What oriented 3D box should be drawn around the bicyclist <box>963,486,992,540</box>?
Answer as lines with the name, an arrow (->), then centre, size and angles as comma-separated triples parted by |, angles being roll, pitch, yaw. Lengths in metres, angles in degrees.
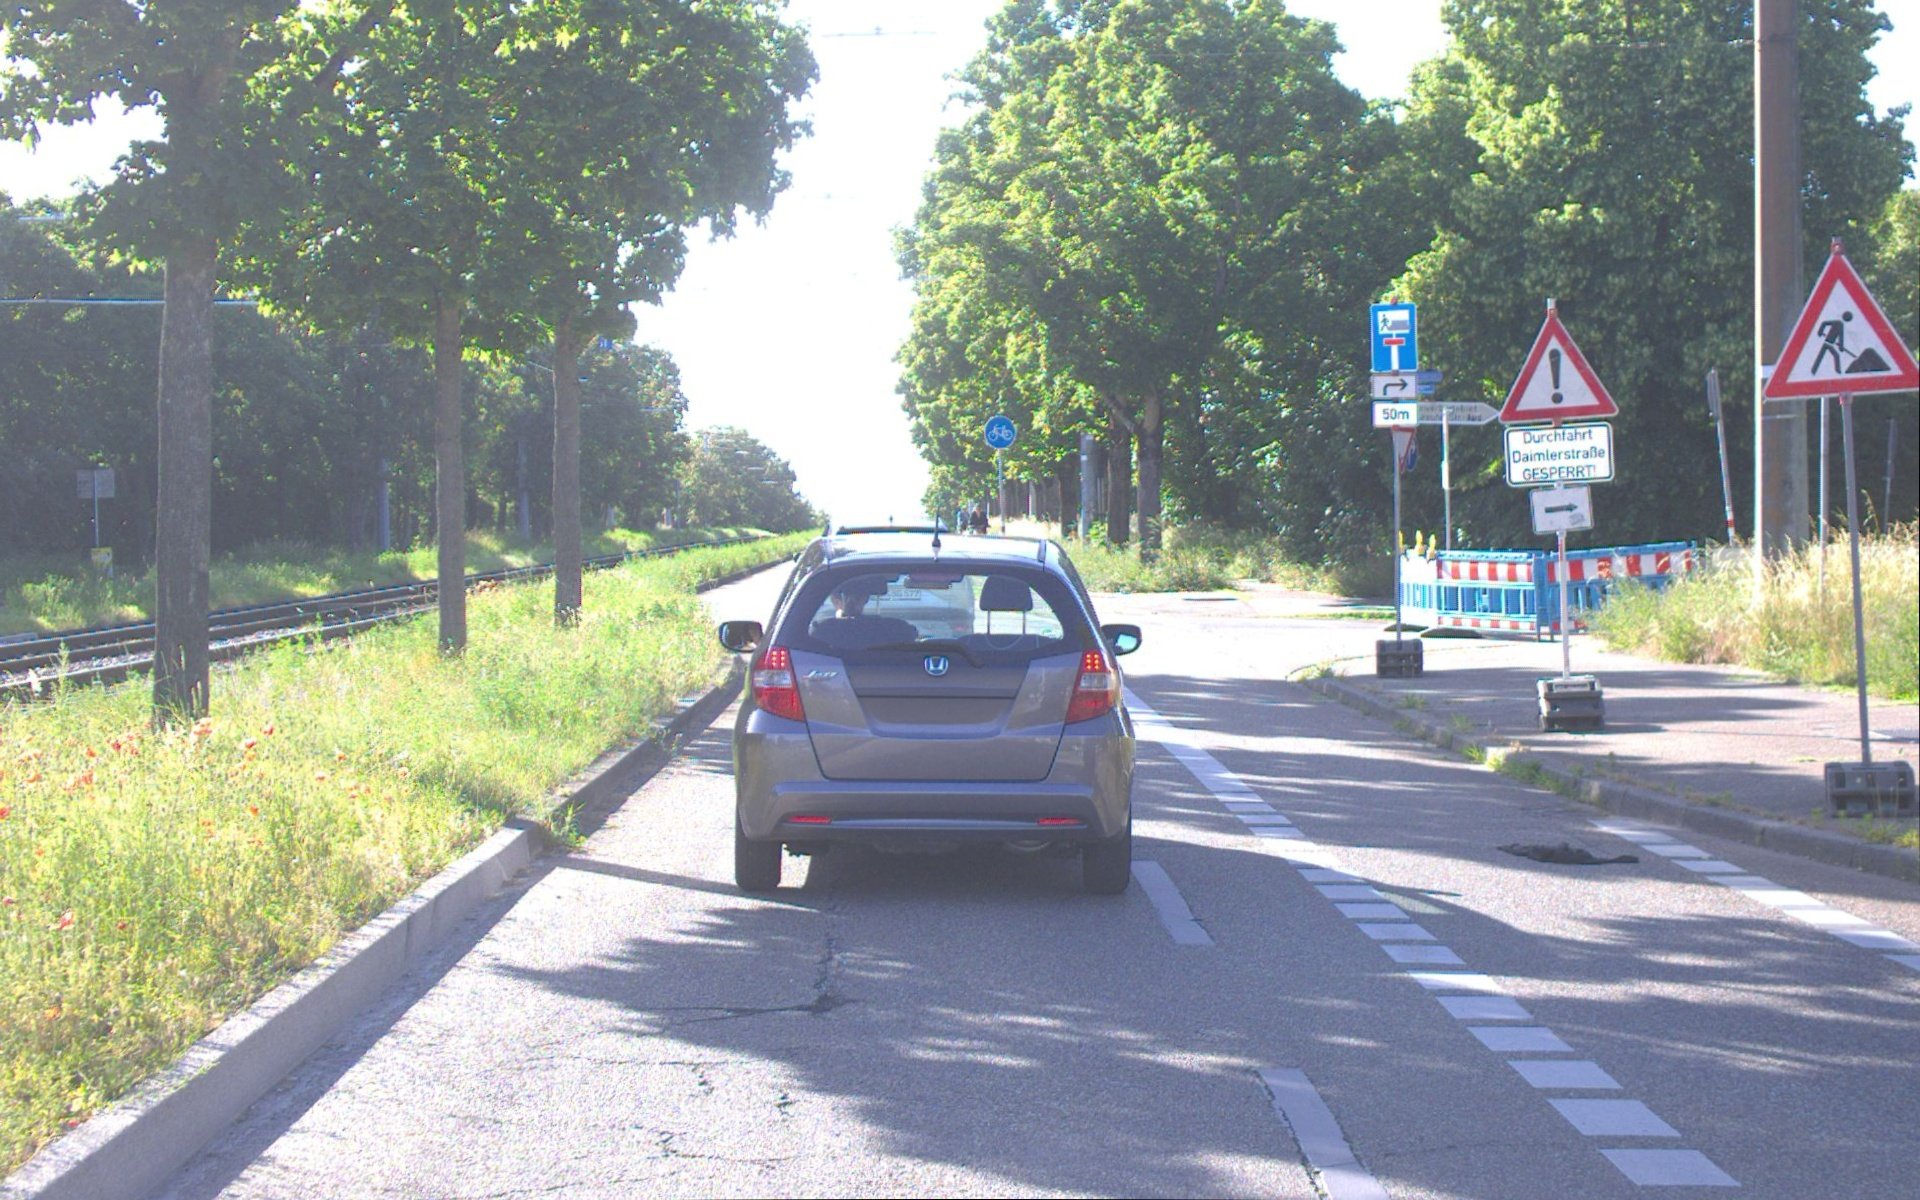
bicyclist -> 0.491, -2.474, 97.918 | 0.818, 1.519, 0.966 | 0, 0, 1

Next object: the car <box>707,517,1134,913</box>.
car -> -0.203, 0.416, 15.543 | 1.670, 1.510, 3.674 | 1, 2, -1

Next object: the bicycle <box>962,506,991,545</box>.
bicycle -> 0.479, -2.117, 97.898 | 0.818, 1.044, 2.506 | 0, 0, 1

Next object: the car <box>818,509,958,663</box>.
car -> -0.721, -0.148, 36.071 | 1.351, 1.522, 3.123 | -1, 0, 1

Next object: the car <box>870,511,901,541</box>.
car -> -5.339, -5.289, 245.436 | 1.993, 2.007, 4.000 | -3, 1, 1
